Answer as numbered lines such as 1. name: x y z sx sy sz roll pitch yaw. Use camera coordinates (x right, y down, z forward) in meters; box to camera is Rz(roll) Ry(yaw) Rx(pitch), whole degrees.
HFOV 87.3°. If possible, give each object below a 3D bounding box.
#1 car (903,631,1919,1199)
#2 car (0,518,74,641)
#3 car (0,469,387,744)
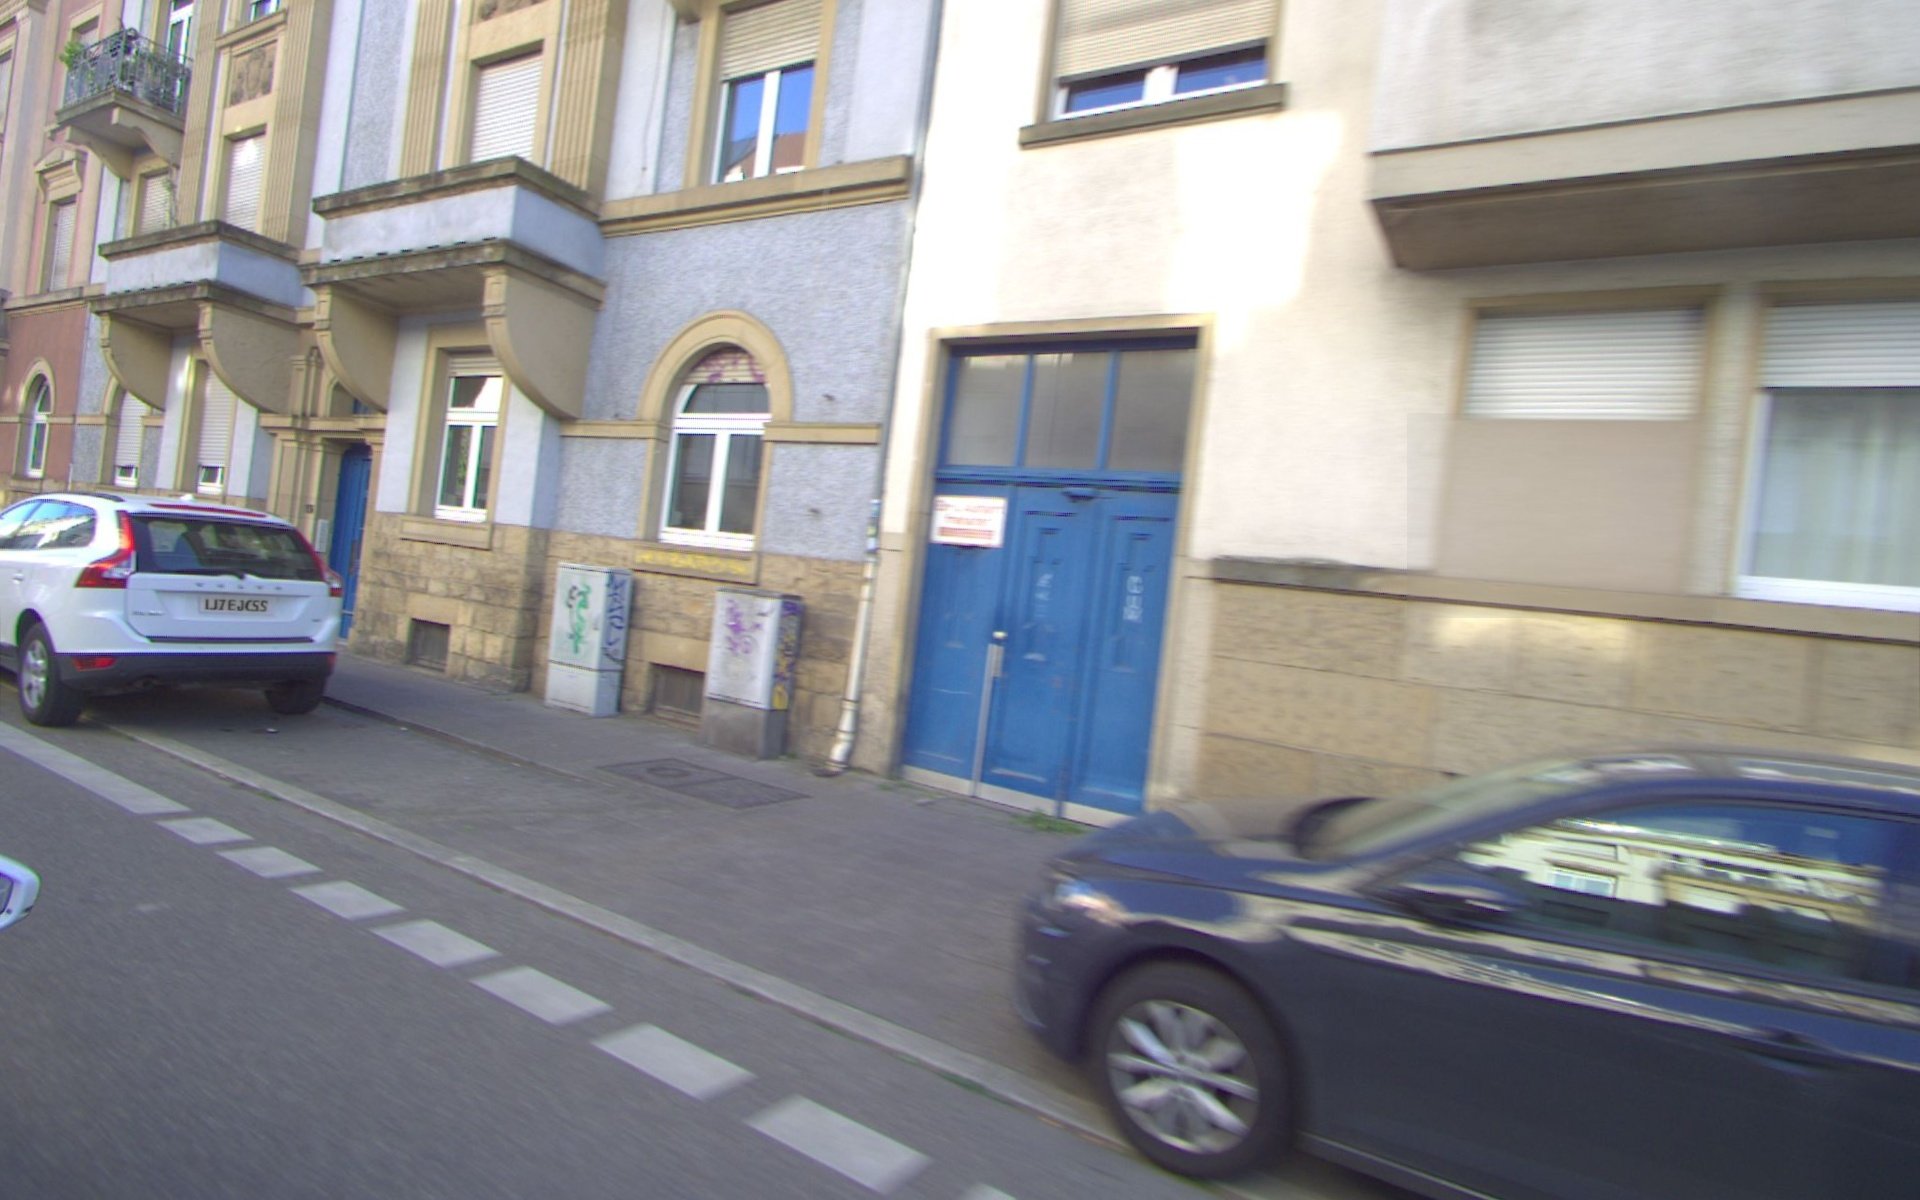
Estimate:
1. car: 2.018 1.098 3.102 3.965 1.459 1.740 7 -1 31
2. car: -12.387 -0.445 11.959 4.433 1.264 1.656 7 -1 34
3. car: -6.989 -0.068 8.383 4.430 1.711 1.846 7 -1 32
